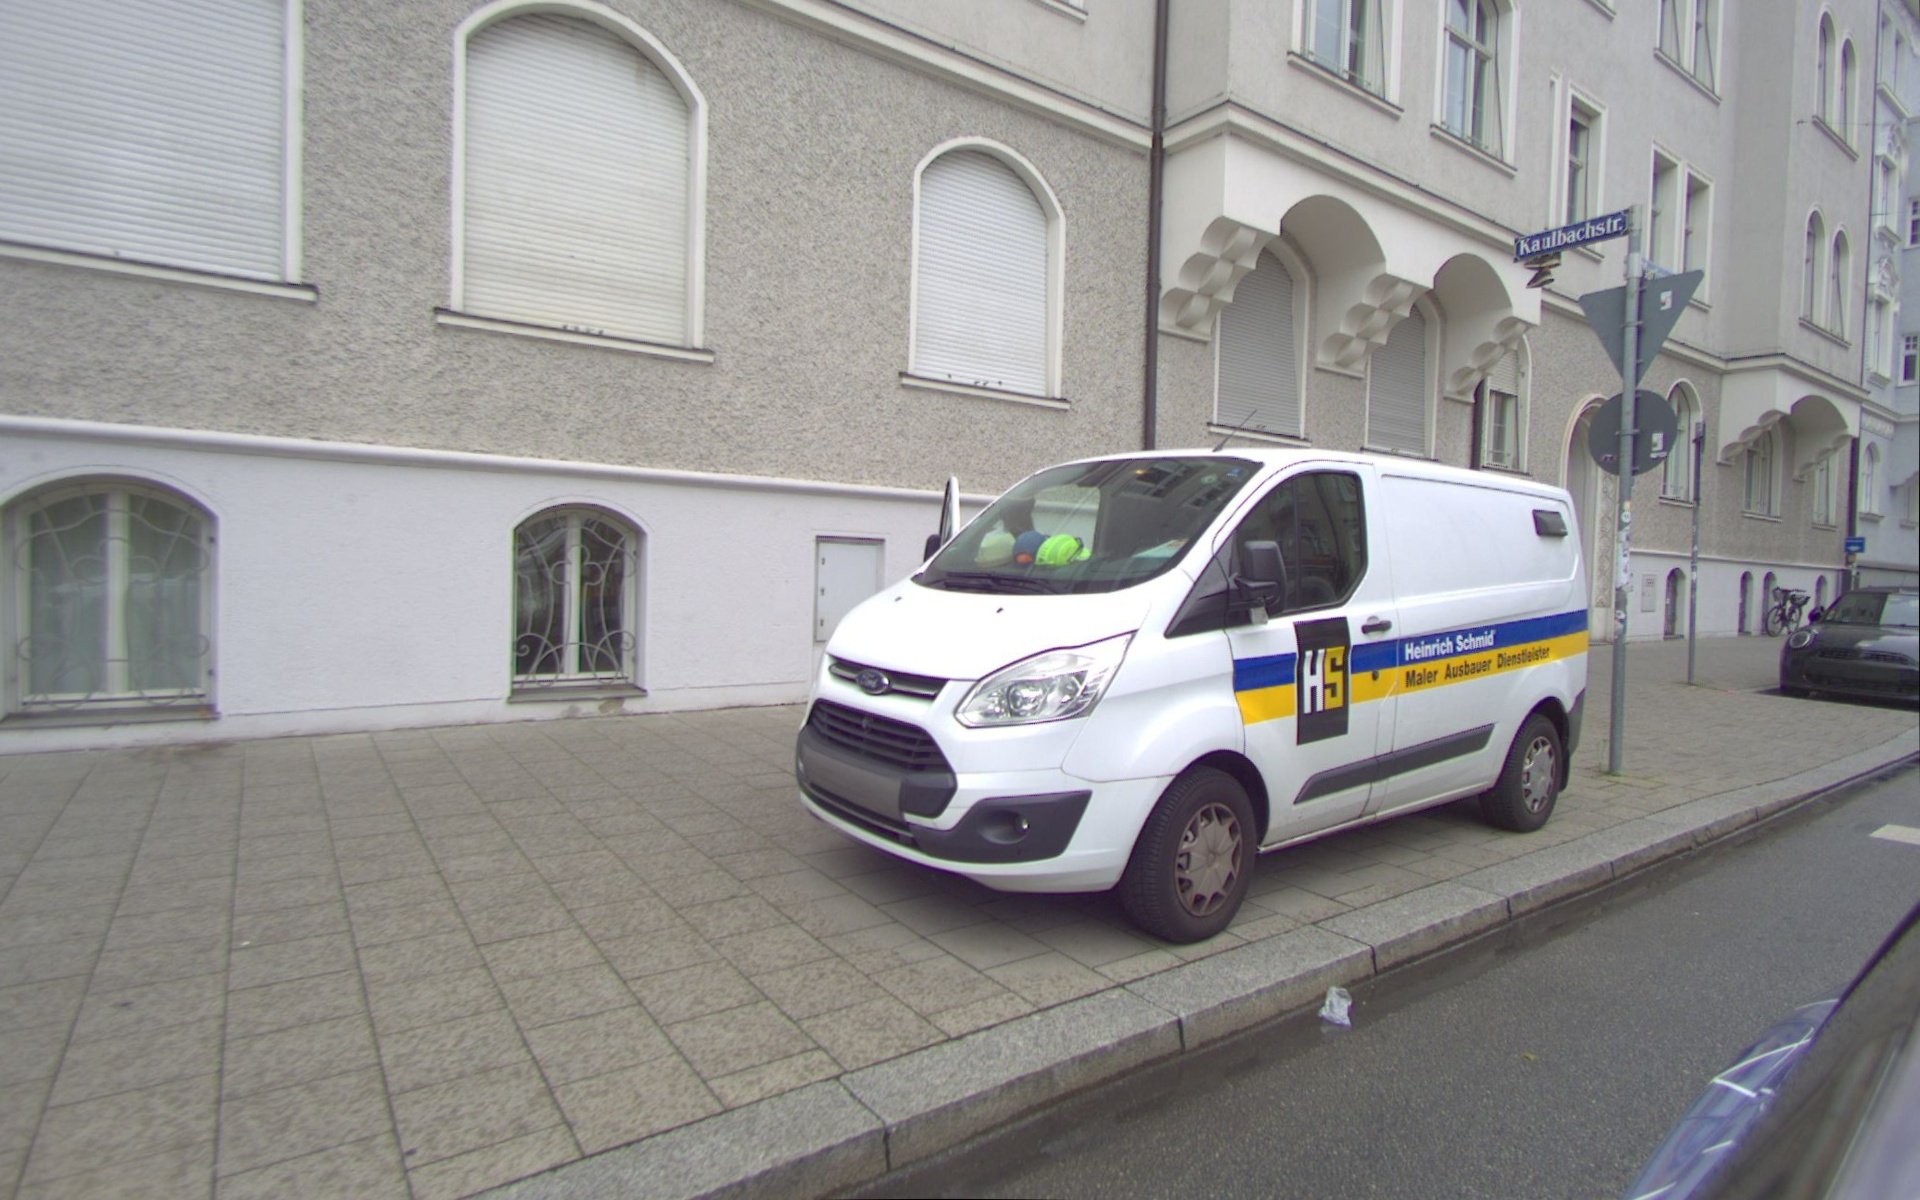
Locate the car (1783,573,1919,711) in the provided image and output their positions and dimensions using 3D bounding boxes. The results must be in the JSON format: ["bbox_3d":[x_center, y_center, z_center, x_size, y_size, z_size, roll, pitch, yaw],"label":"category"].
[{"bbox_3d":[11.867,0.453,12.515,3.823,1.475,1.669,0,3,-36],"label":"car"}]

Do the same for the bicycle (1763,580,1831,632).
[{"bbox_3d":[19.534,0.130,23.612,1.999,1.106,0.697,0,5,-37],"label":"bicycle"}]

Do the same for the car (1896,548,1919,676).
[{"bbox_3d":[16.341,0.212,15.524,4.728,1.875,1.857,0,3,-35],"label":"car"}]

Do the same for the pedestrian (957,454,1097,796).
[{"bbox_3d":[0.376,0.137,5.989,0.663,1.911,0.593,1,2,-8],"label":"pedestrian"}]

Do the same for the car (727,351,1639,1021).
[{"bbox_3d":[1.471,0.190,5.248,4.837,1.985,1.922,0,4,-38],"label":"car"}]
